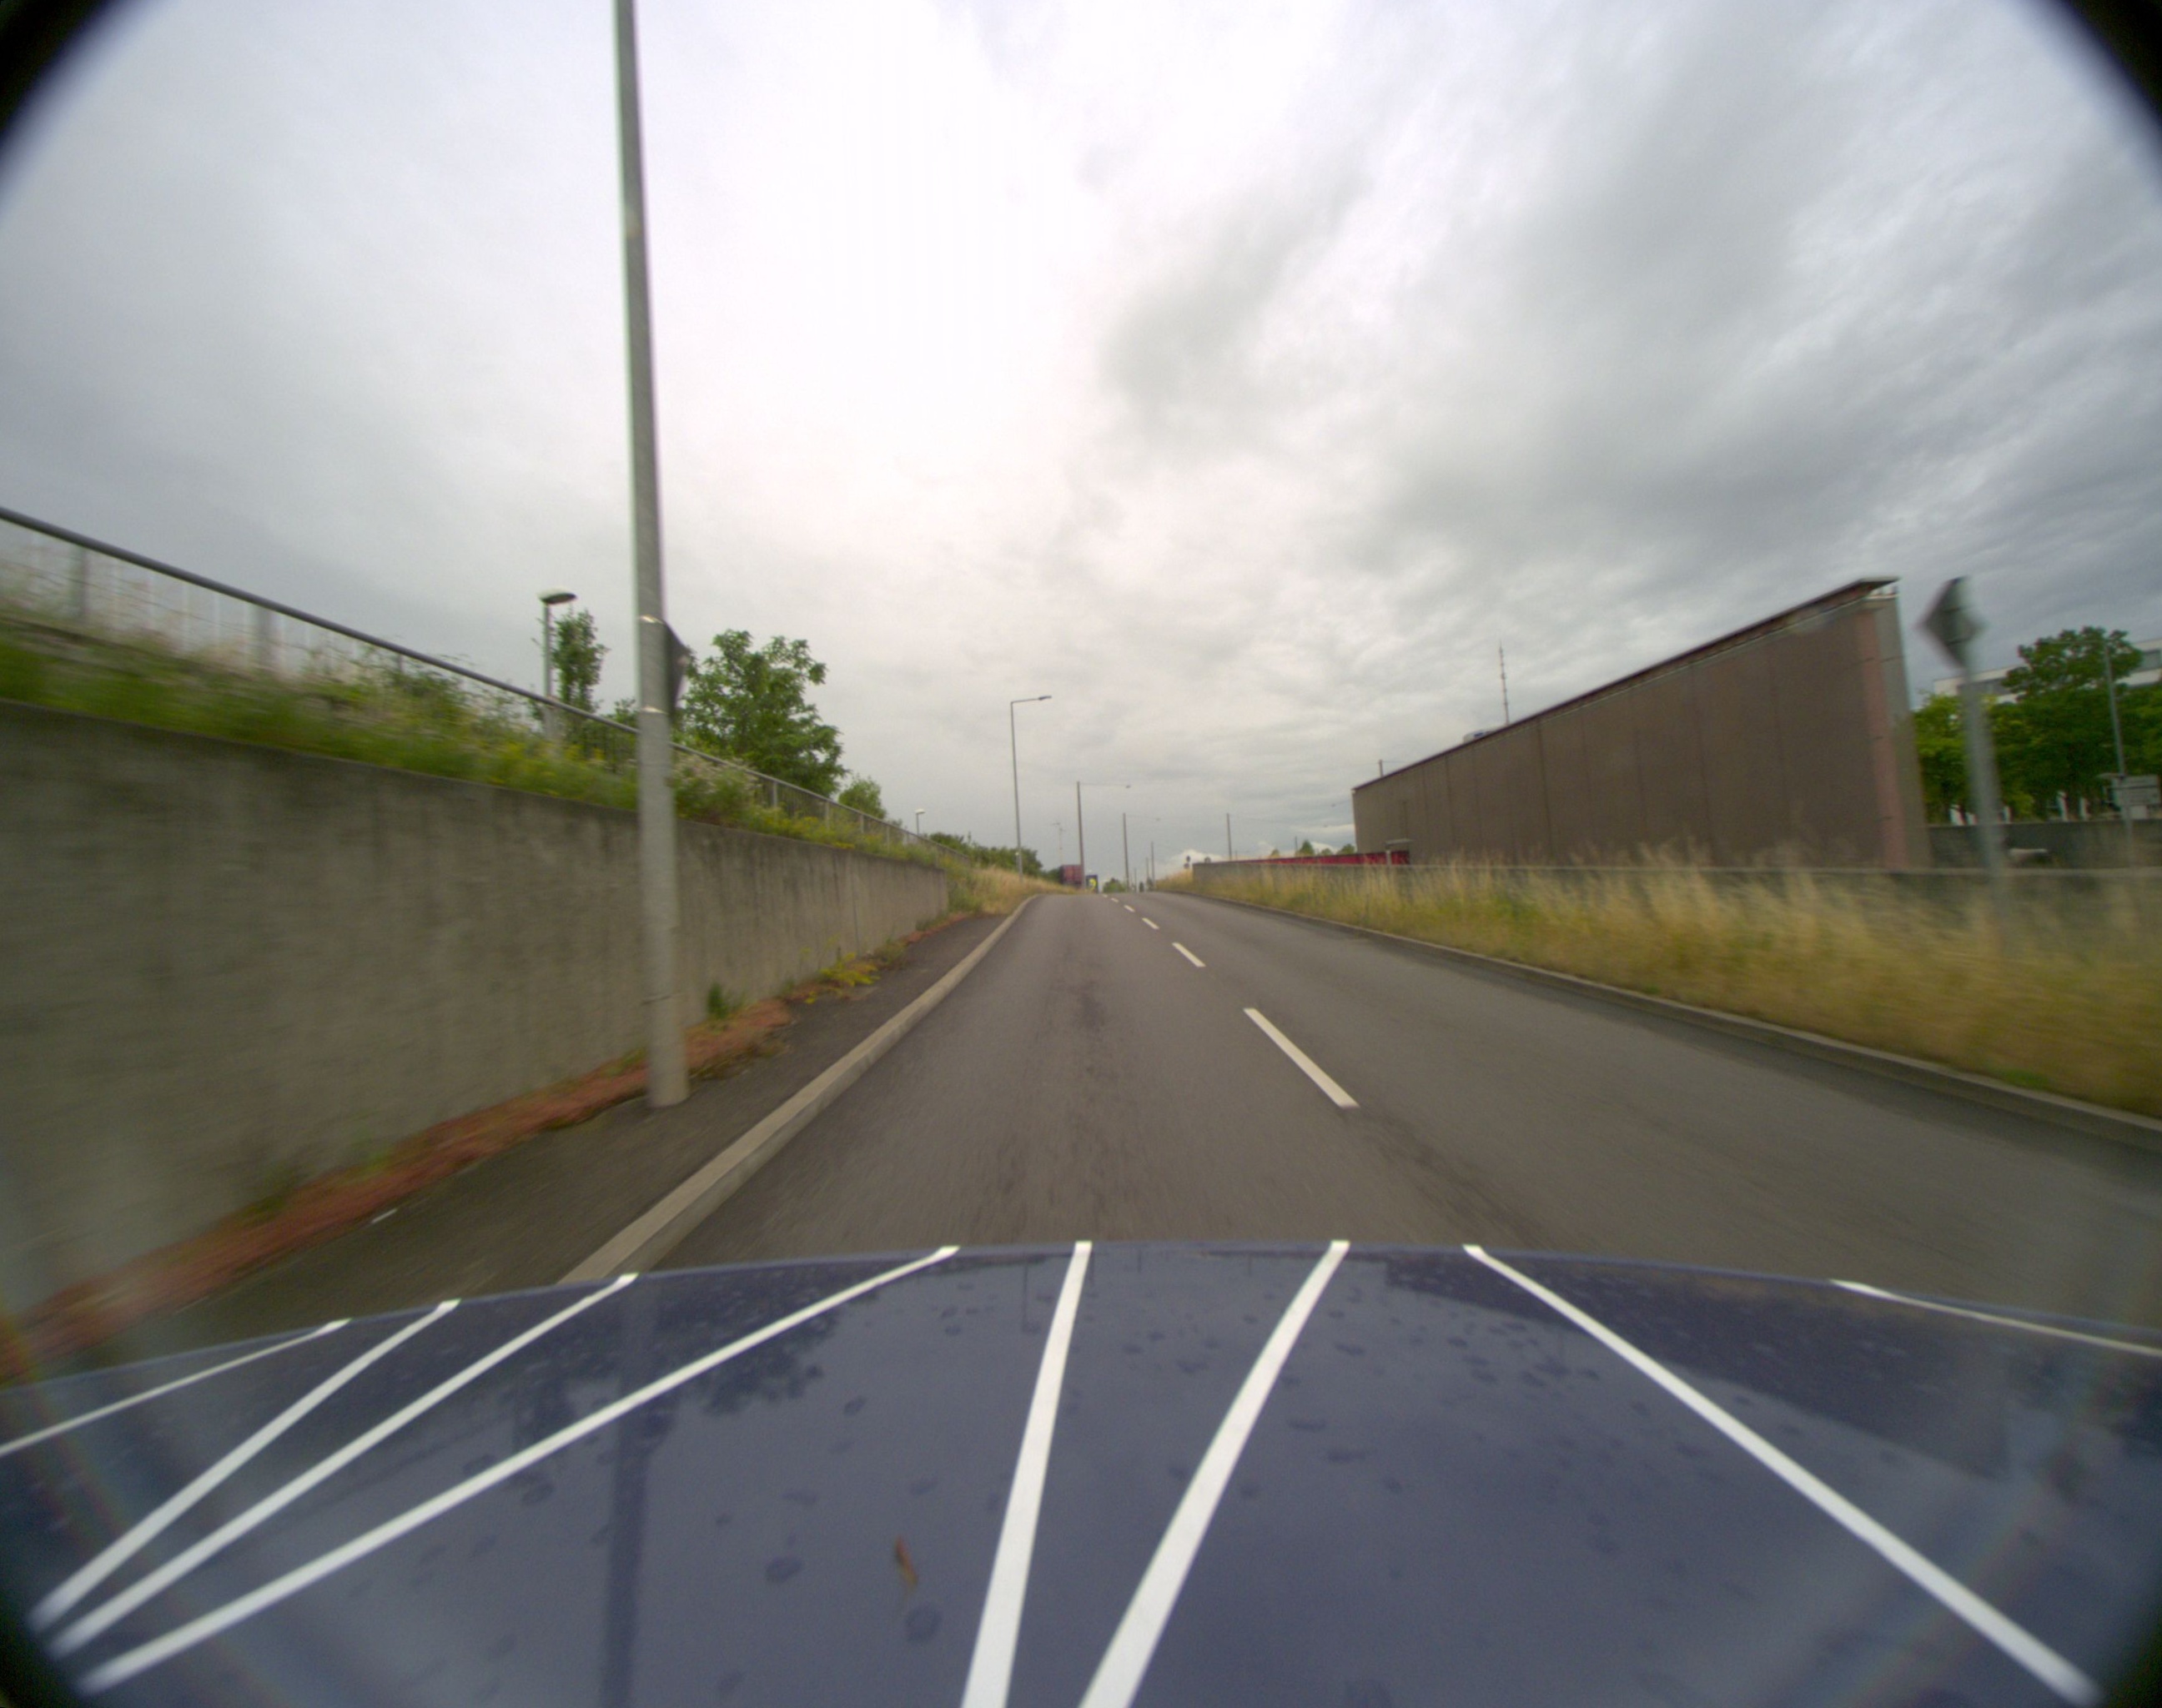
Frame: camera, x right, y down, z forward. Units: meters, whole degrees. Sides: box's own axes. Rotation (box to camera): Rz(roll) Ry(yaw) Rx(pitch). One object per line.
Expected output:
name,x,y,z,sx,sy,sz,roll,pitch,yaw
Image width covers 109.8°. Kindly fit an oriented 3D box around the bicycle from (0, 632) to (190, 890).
bicycle,-6.106,-0.562,3.085,0.871,1.280,3.489,-5,-3,-1
